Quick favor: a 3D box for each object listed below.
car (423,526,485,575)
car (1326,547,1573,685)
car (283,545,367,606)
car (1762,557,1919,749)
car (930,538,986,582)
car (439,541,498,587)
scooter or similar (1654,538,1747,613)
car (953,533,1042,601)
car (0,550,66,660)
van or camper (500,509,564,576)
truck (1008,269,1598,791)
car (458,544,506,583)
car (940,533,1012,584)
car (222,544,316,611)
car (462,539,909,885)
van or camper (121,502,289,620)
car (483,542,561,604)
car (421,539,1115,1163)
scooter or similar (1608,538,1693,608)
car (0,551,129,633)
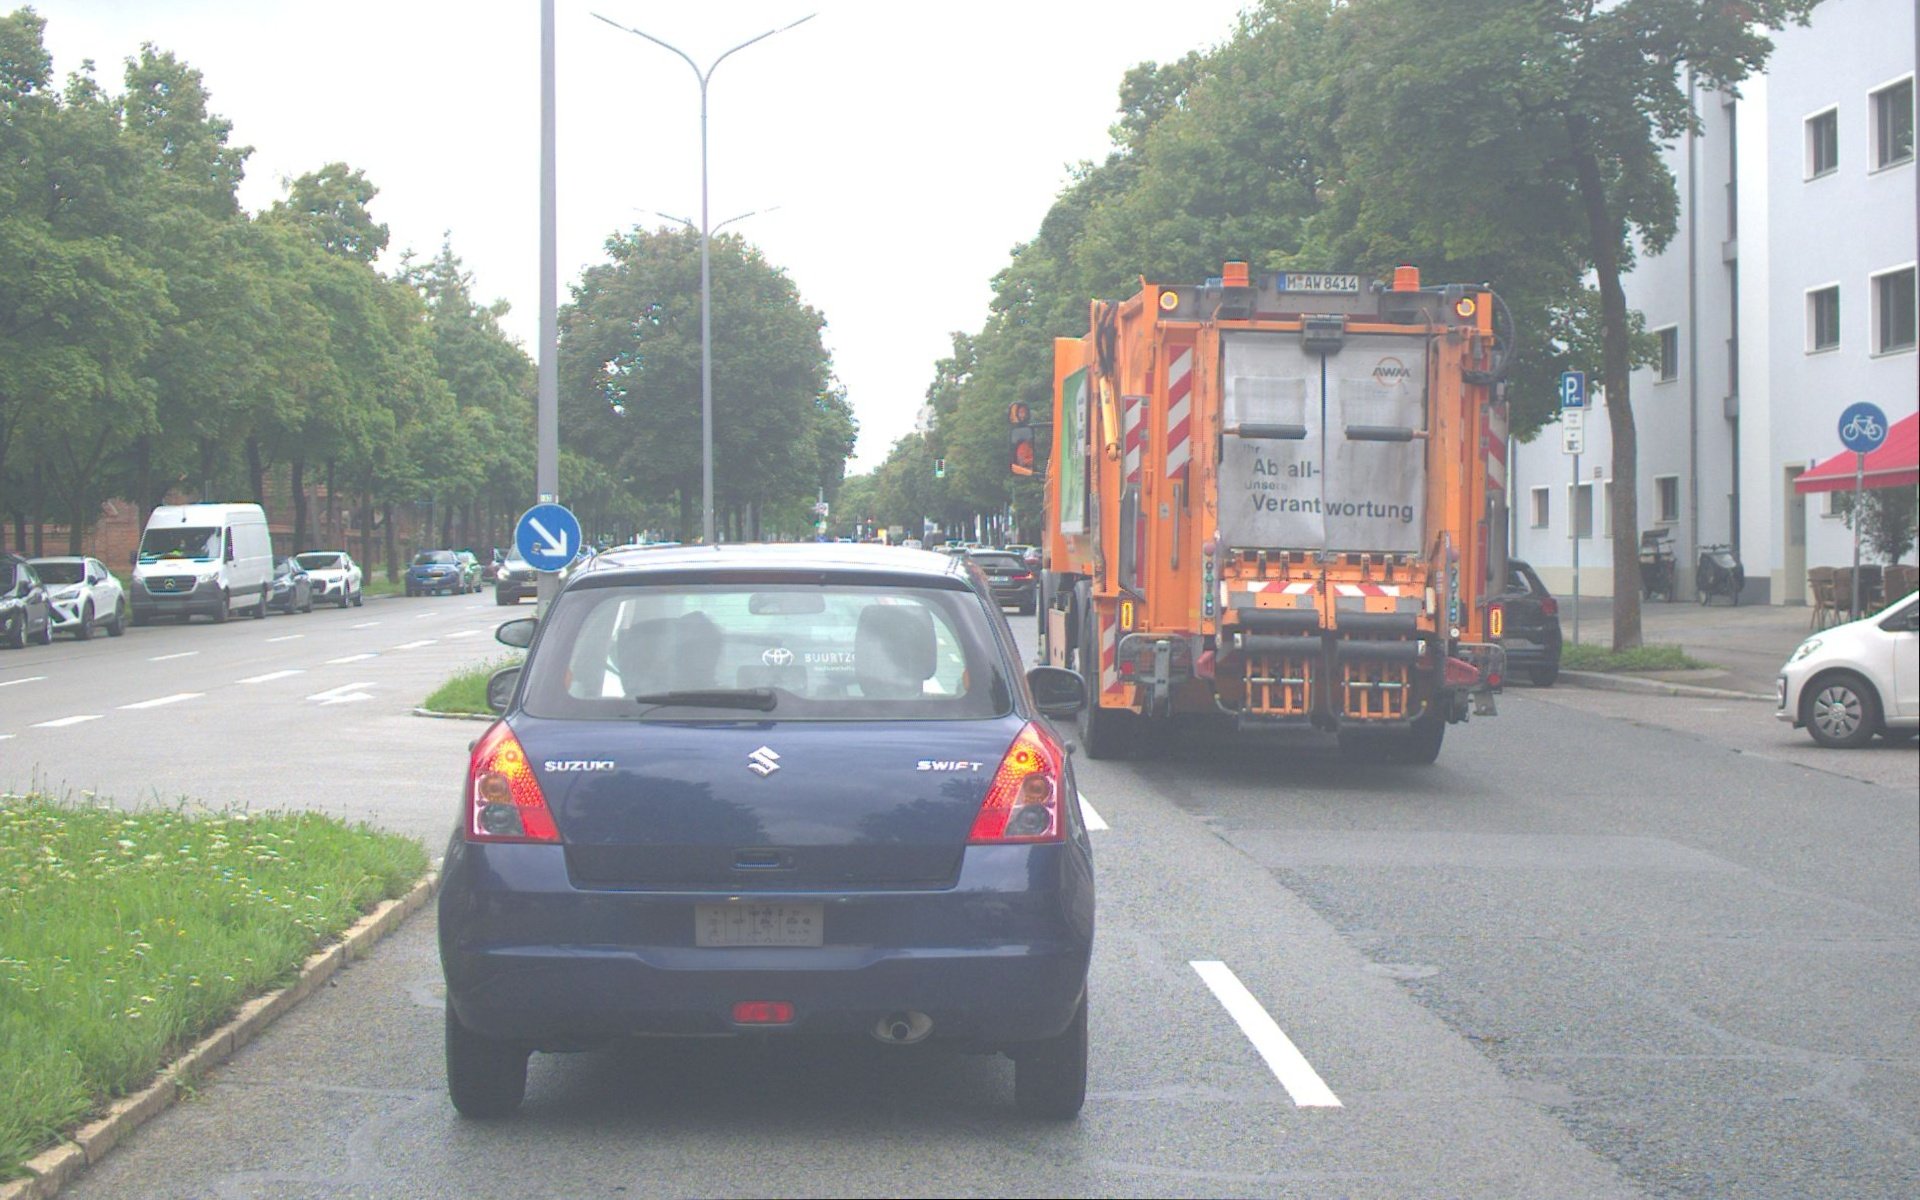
[{"bbox_3d":[-16.841,-1.649,114.522,1.632,1.577,3.879,1,1,-2],"label":"car"},{"bbox_3d":[5.427,0.135,38.642,1.865,1.412,4.225,-1,1,-4],"label":"car"},{"bbox_3d":[-16.916,-0.668,91.740,1.632,1.577,3.879,1,1,-2],"label":"car"},{"bbox_3d":[8.152,0.388,26.206,3.555,1.412,1.868,0,1,32],"label":"car"},{"bbox_3d":[-0.075,-1.311,111.333,1.682,1.379,3.919,1,1,-2],"label":"car"},{"bbox_3d":[-17.226,-1.281,120.675,1.632,1.577,3.879,1,1,-2],"label":"car"},{"bbox_3d":[13.188,-0.449,61.322,1.033,1.303,2.755,0,1,-1],"label":"scooter or similar"},{"bbox_3d":[0.795,-0.742,75.686,1.758,1.408,4.463,1,1,-1],"label":"car"},{"bbox_3d":[-16.005,0.048,56.708,1.632,1.735,3.879,1,1,-2],"label":"car"},{"bbox_3d":[-21.499,-2.874,172.885,2.561,3.284,6.938,1,1,-2],"label":"van or camper"},{"bbox_3d":[2.176,-0.511,25.690,3.038,3.178,9.134,1,1,-3],"label":"truck"},{"bbox_3d":[-20.125,-1.535,144.825,1.632,1.577,3.879,1,1,-2],"label":"car"},{"bbox_3d":[0.459,-1.241,100.935,1.731,1.427,4.443,1,1,-4],"label":"car"},{"bbox_3d":[-16.880,-0.559,84.092,1.632,1.577,3.879,1,1,-2],"label":"car"},{"bbox_3d":[-1.403,0.457,16.533,1.443,1.478,3.107,0,1,-18],"label":"car"},{"bbox_3d":[-16.648,-0.870,76.209,2.117,2.473,7.449,1,1,0],"label":"van or camper"},{"bbox_3d":[-11.250,-0.715,88.417,1.632,1.547,3.879,1,1,-2],"label":"car"},{"bbox_3d":[-0.547,0.577,10.323,1.682,1.496,3.919,0,1,-2],"label":"car"},{"bbox_3d":[13.089,-0.528,65.270,1.033,1.303,2.755,0,1,-1],"label":"scooter or similar"},{"bbox_3d":[-16.229,-0.169,62.039,1.632,1.426,3.879,1,1,-2],"label":"car"}]
